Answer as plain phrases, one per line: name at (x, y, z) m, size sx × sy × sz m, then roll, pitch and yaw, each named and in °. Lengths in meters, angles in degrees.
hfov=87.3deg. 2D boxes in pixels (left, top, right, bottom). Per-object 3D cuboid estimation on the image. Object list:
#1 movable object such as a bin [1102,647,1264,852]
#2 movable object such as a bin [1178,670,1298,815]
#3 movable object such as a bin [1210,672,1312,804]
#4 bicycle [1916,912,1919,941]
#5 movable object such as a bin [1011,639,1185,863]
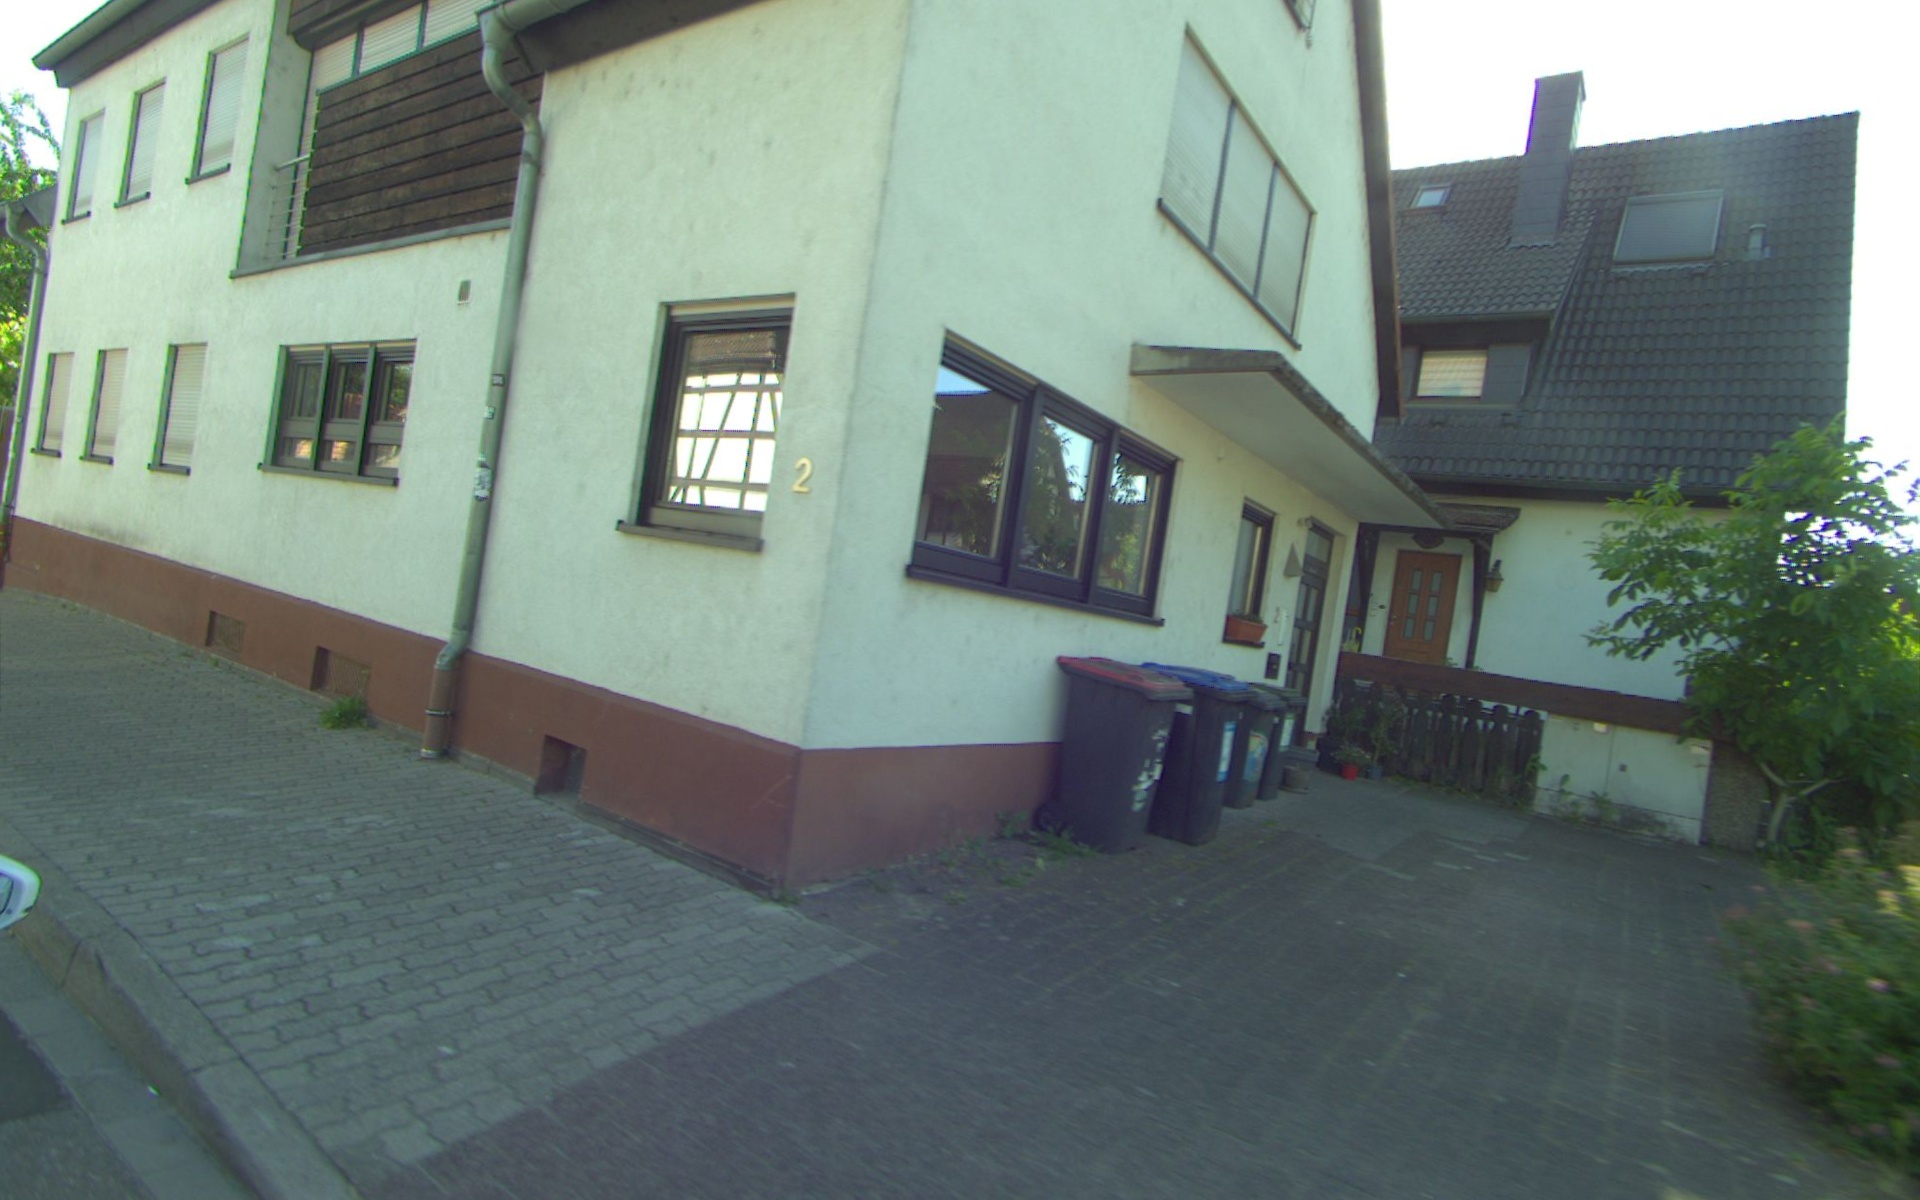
movable object such as a bin at (1.439, 0.934, 6.494) m, size 0.736 × 1.136 × 0.527 m, roll 9°, pitch 1°, yaw 32°
movable object such as a bin at (2.213, 1.112, 8.000) m, size 0.658 × 0.995 × 0.530 m, roll 9°, pitch 1°, yaw 32°
movable object such as a bin at (2.561, 1.154, 8.546) m, size 0.584 × 0.989 × 0.498 m, roll 9°, pitch 1°, yaw 32°
bicycle at (6.051, 1.481, 5.481) m, size 0.688 × 1.299 × 1.740 m, roll 8°, pitch 0°, yaw 30°
movable object such as a bin at (0.815, 0.857, 5.936) m, size 0.736 × 1.136 × 0.481 m, roll 9°, pitch 1°, yaw 32°
